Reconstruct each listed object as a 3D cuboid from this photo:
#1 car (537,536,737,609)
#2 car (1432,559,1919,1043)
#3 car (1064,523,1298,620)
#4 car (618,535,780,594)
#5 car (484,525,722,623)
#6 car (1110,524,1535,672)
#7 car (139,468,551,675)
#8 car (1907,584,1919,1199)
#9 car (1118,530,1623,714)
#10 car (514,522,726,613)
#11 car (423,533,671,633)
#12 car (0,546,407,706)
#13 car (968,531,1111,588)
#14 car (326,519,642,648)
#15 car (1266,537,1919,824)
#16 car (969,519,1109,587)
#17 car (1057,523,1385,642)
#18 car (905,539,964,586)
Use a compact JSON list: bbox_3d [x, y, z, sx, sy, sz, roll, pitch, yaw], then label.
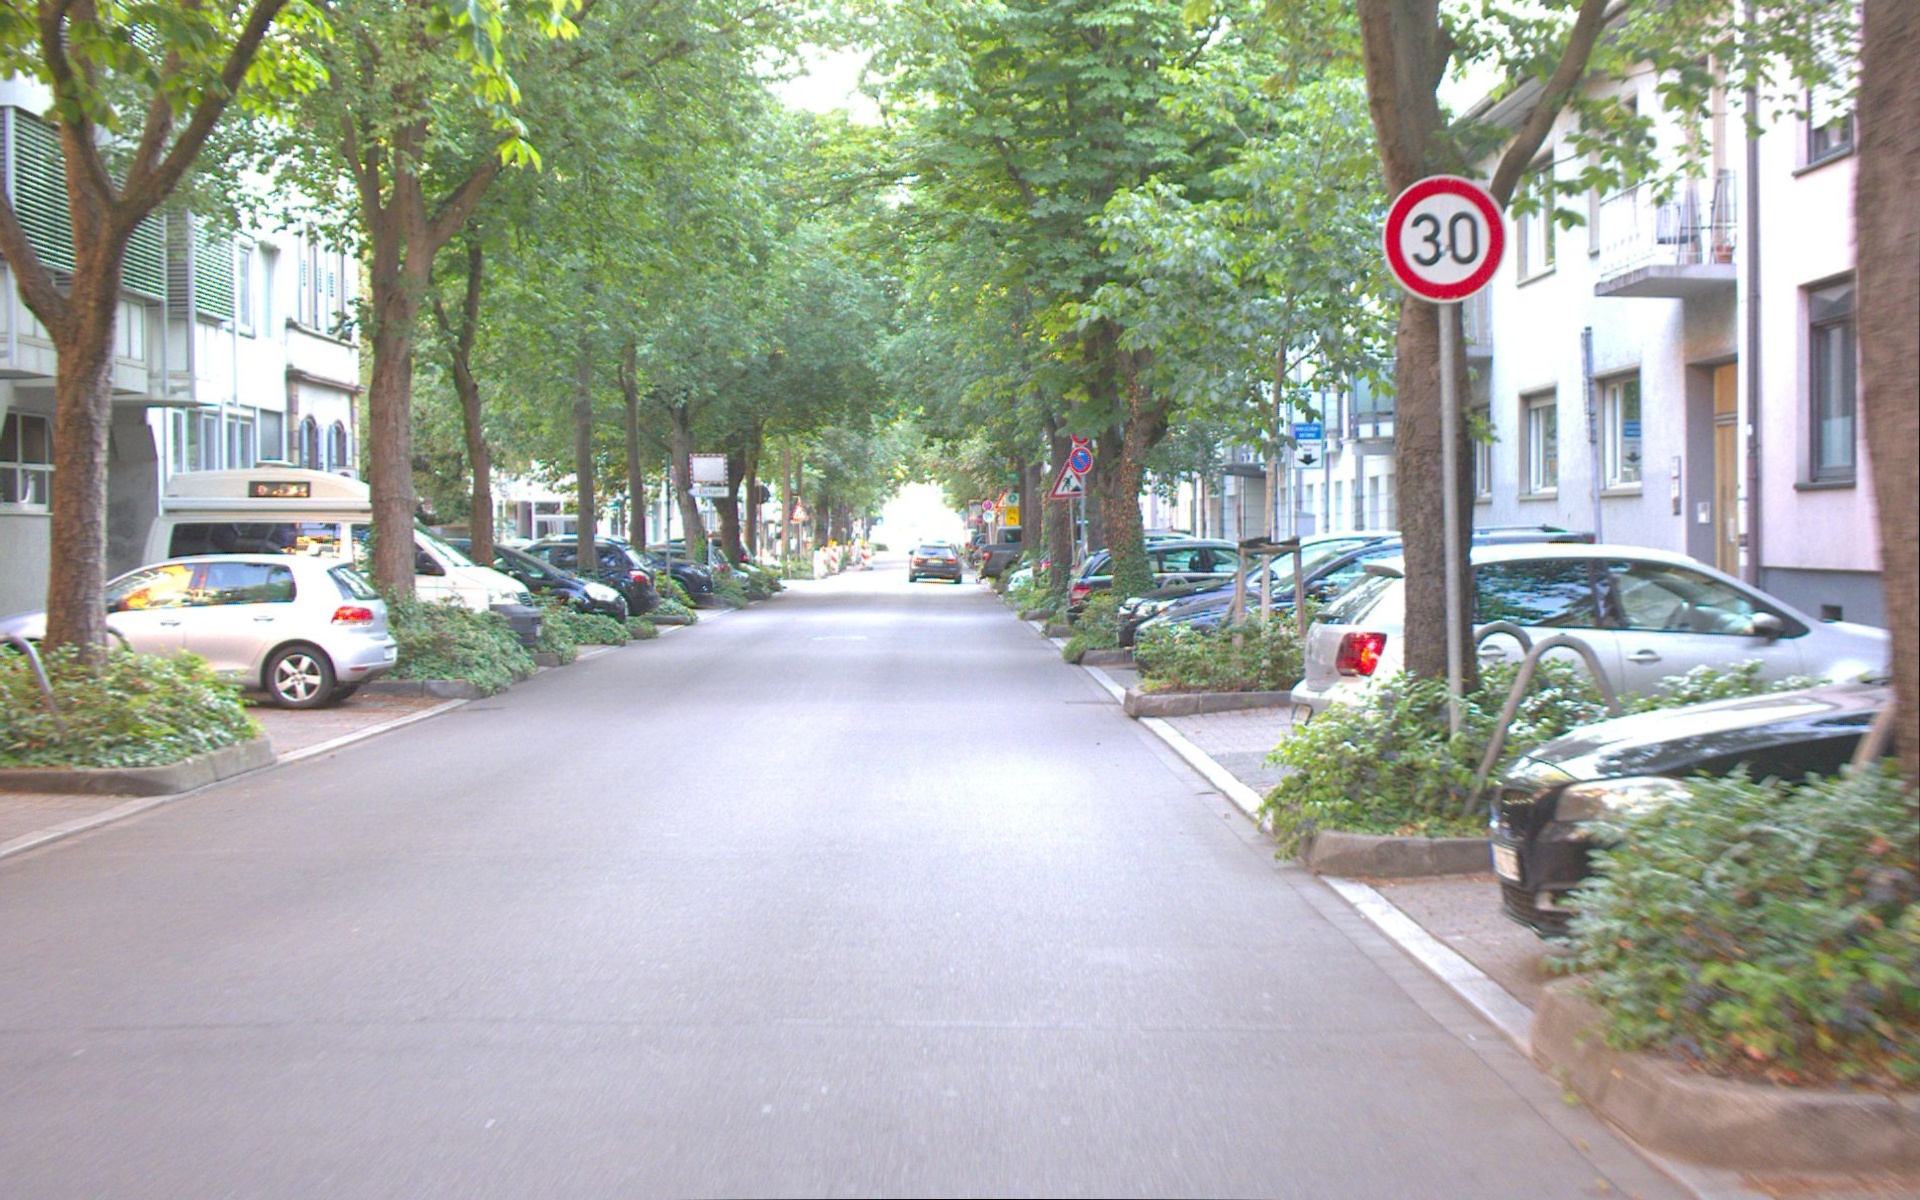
[{"bbox_3d":[-8.016,-0.692,85.662,4.762,1.624,1.963,-2,1,0],"label":"car"},{"bbox_3d":[4.115,0.572,11.643,4.711,1.416,2.036,-2,2,0],"label":"car"},{"bbox_3d":[3.956,-0.525,62.022,4.050,1.592,1.825,-2,1,0],"label":"car"},{"bbox_3d":[-7.927,-1.095,104.747,4.762,1.624,1.963,-2,1,0],"label":"car"},{"bbox_3d":[-7.219,-0.534,69.886,4.595,1.801,1.963,-2,1,0],"label":"car"},{"bbox_3d":[4.155,-0.036,40.002,4.682,1.516,1.963,-2,1,0],"label":"car"},{"bbox_3d":[-7.452,-0.355,42.010,4.682,2.469,2.000,0,1,0],"label":"car"},{"bbox_3d":[3.906,0.664,6.795,3.483,1.447,1.900,-2,2,-2],"label":"car"},{"bbox_3d":[3.918,0.190,33.497,4.718,1.704,1.950,0,2,2],"label":"car"},{"bbox_3d":[-8.020,-0.773,81.339,4.762,1.977,1.963,-2,1,0],"label":"car"},{"bbox_3d":[-7.428,-0.318,62.195,4.203,1.630,1.963,-2,1,0],"label":"car"},{"bbox_3d":[-7.518,0.236,33.695,3.871,1.481,1.757,1,1,2],"label":"car"},{"bbox_3d":[2.411,-1.240,105.065,4.268,1.560,1.963,-2,1,0],"label":"car"},{"bbox_3d":[-7.494,-0.279,54.470,4.682,1.848,1.963,-2,1,0],"label":"car"},{"bbox_3d":[3.832,0.418,19.693,3.876,1.435,1.848,-2,2,-3],"label":"car"},{"bbox_3d":[2.467,-1.482,107.848,4.268,1.955,1.963,-2,1,0],"label":"car"},{"bbox_3d":[3.684,-0.263,48.912,4.508,1.516,1.995,-2,1,3],"label":"car"},{"bbox_3d":[-0.883,-1.316,119.860,1.956,1.560,4.282,-2,1,0],"label":"car"}]
